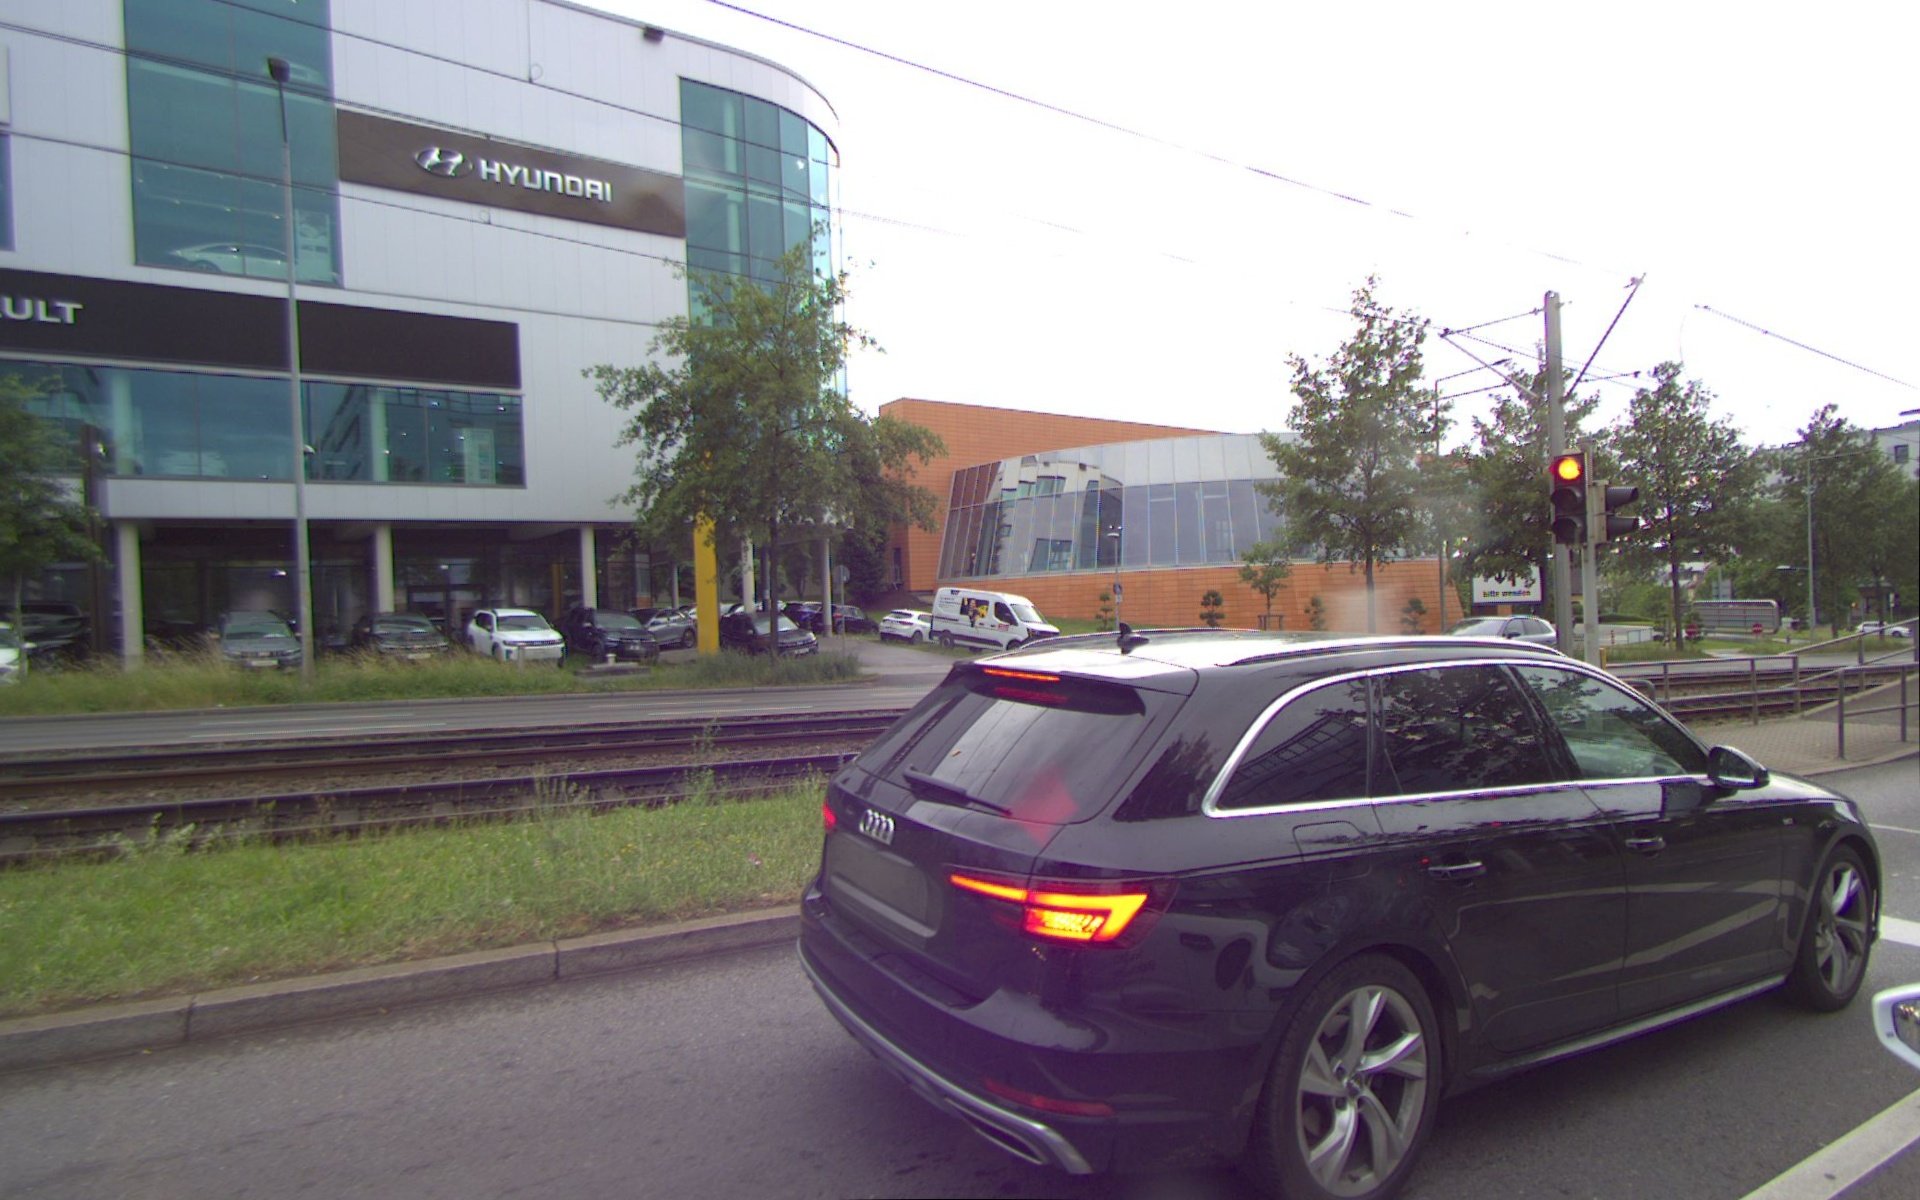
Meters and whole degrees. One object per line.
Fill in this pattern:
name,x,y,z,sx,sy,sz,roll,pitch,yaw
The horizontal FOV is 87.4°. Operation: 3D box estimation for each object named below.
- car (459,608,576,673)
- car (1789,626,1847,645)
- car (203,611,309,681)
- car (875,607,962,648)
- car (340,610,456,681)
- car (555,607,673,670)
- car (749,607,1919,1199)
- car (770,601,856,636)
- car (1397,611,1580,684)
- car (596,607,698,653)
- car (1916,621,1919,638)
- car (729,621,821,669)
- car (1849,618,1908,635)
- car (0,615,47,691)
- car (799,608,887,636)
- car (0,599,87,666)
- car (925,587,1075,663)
car,-12.906,1.118,29.188,1.984,1.571,4.324,1,2,-40
car,67.844,2.803,79.473,1.408,1.405,3.371,0,0,-13
car,-18.273,1.126,26.007,1.917,1.479,3.974,1,2,-40
car,-1.744,1.150,43.099,1.703,1.688,3.734,0,0,38
car,-15.363,1.160,27.332,1.984,1.571,4.324,1,2,-40
car,-10.660,1.114,30.771,1.984,1.637,4.324,1,2,-40
car,1.645,0.788,3.775,4.461,1.486,1.772,1,-1,-31
car,-7.272,0.908,50.019,1.969,1.653,3.982,0,-1,39
car,13.718,1.202,25.997,4.785,1.742,1.984,1,-3,-31
car,-11.238,1.041,36.281,1.691,1.572,3.587,0,-1,20
car,87.659,2.579,89.004,1.633,1.455,3.856,0,-3,-25
car,-6.046,1.407,32.628,1.565,1.409,3.619,0,-1,-36
car,87.122,2.551,95.320,1.645,1.455,4.050,2,-4,-44
car,-22.649,1.193,23.364,1.906,1.479,3.999,1,2,-40
car,-5.617,1.059,48.450,1.969,1.297,3.982,0,-1,39
car,-26.748,0.860,27.004,1.962,1.806,4.544,0,-1,23
car,1.475,0.897,39.049,5.544,2.616,2.392,3,1,43
